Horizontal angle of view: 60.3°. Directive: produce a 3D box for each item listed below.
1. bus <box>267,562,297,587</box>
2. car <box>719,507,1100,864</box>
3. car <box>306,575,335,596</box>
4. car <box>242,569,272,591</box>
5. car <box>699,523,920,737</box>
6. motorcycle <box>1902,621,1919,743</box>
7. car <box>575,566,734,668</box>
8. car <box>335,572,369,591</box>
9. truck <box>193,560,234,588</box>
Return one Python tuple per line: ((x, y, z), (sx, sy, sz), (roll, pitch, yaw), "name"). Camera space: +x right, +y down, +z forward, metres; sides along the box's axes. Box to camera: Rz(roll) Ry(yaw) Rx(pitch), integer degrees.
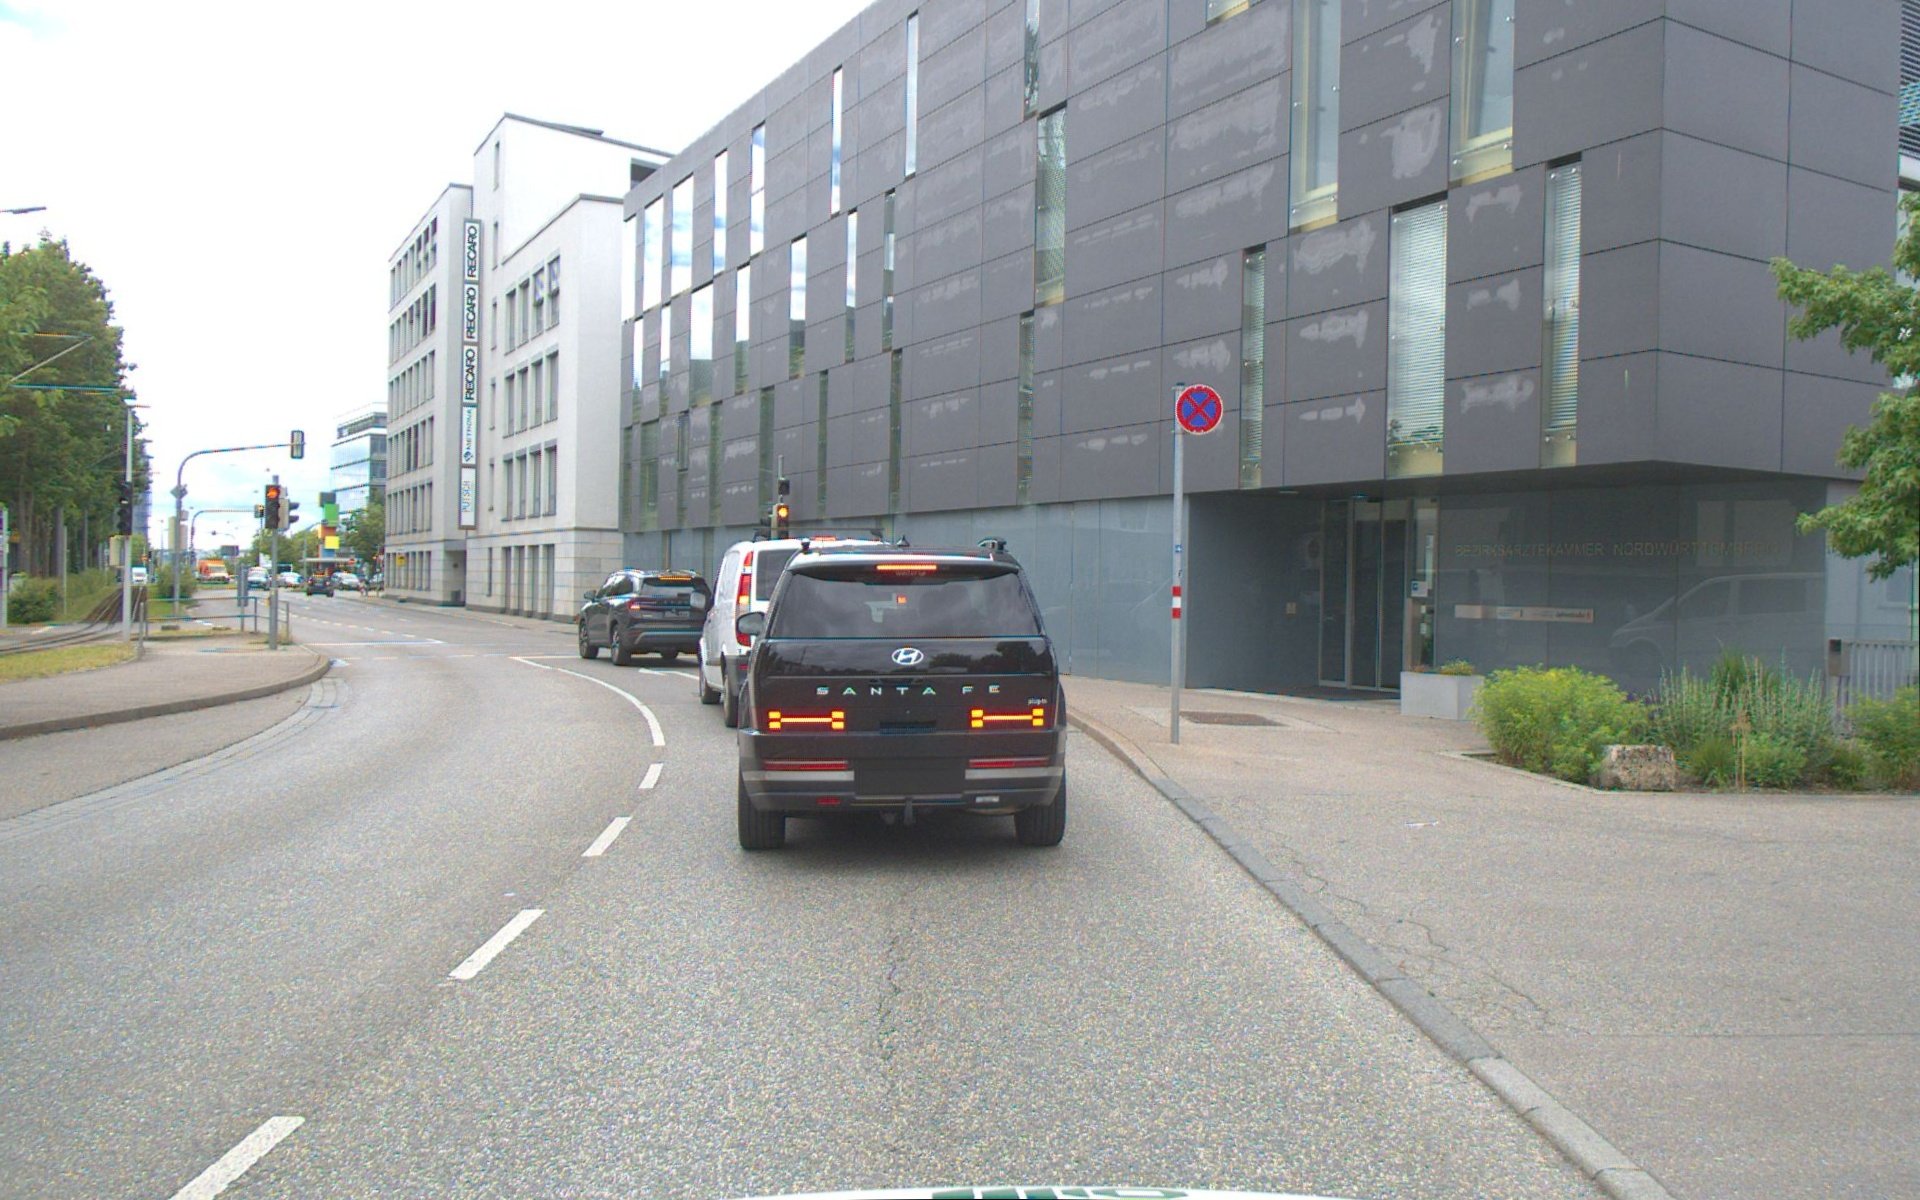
((-91.627, -3.473, 223.429), (3.045, 2.979, 10.255), (2, 1, -26), "bus")
((-0.400, 0.423, 10.540), (1.877, 1.755, 4.167), (3, 0, -4), "car")
((-47.001, -1.048, 121.618), (1.871, 1.512, 3.978), (1, 1, -19), "car")
((-57.350, -1.656, 135.033), (1.822, 1.725, 3.981), (1, 0, -17), "car")
((-1.801, 0.258, 18.352), (1.824, 2.069, 4.422), (1, 1, -13), "car")
((10.981, 0.884, 16.565), (0.836, 1.282, 2.670), (1, 1, -27), "motorcycle")
((-5.644, 0.277, 30.161), (1.825, 1.706, 4.339), (0, 0, -25), "car")
((-55.808, -1.702, 151.755), (1.839, 1.657, 3.945), (1, 0, -38), "car")
((-80.839, -2.825, 179.015), (2.555, 2.874, 6.895), (0, 1, -38), "truck")
